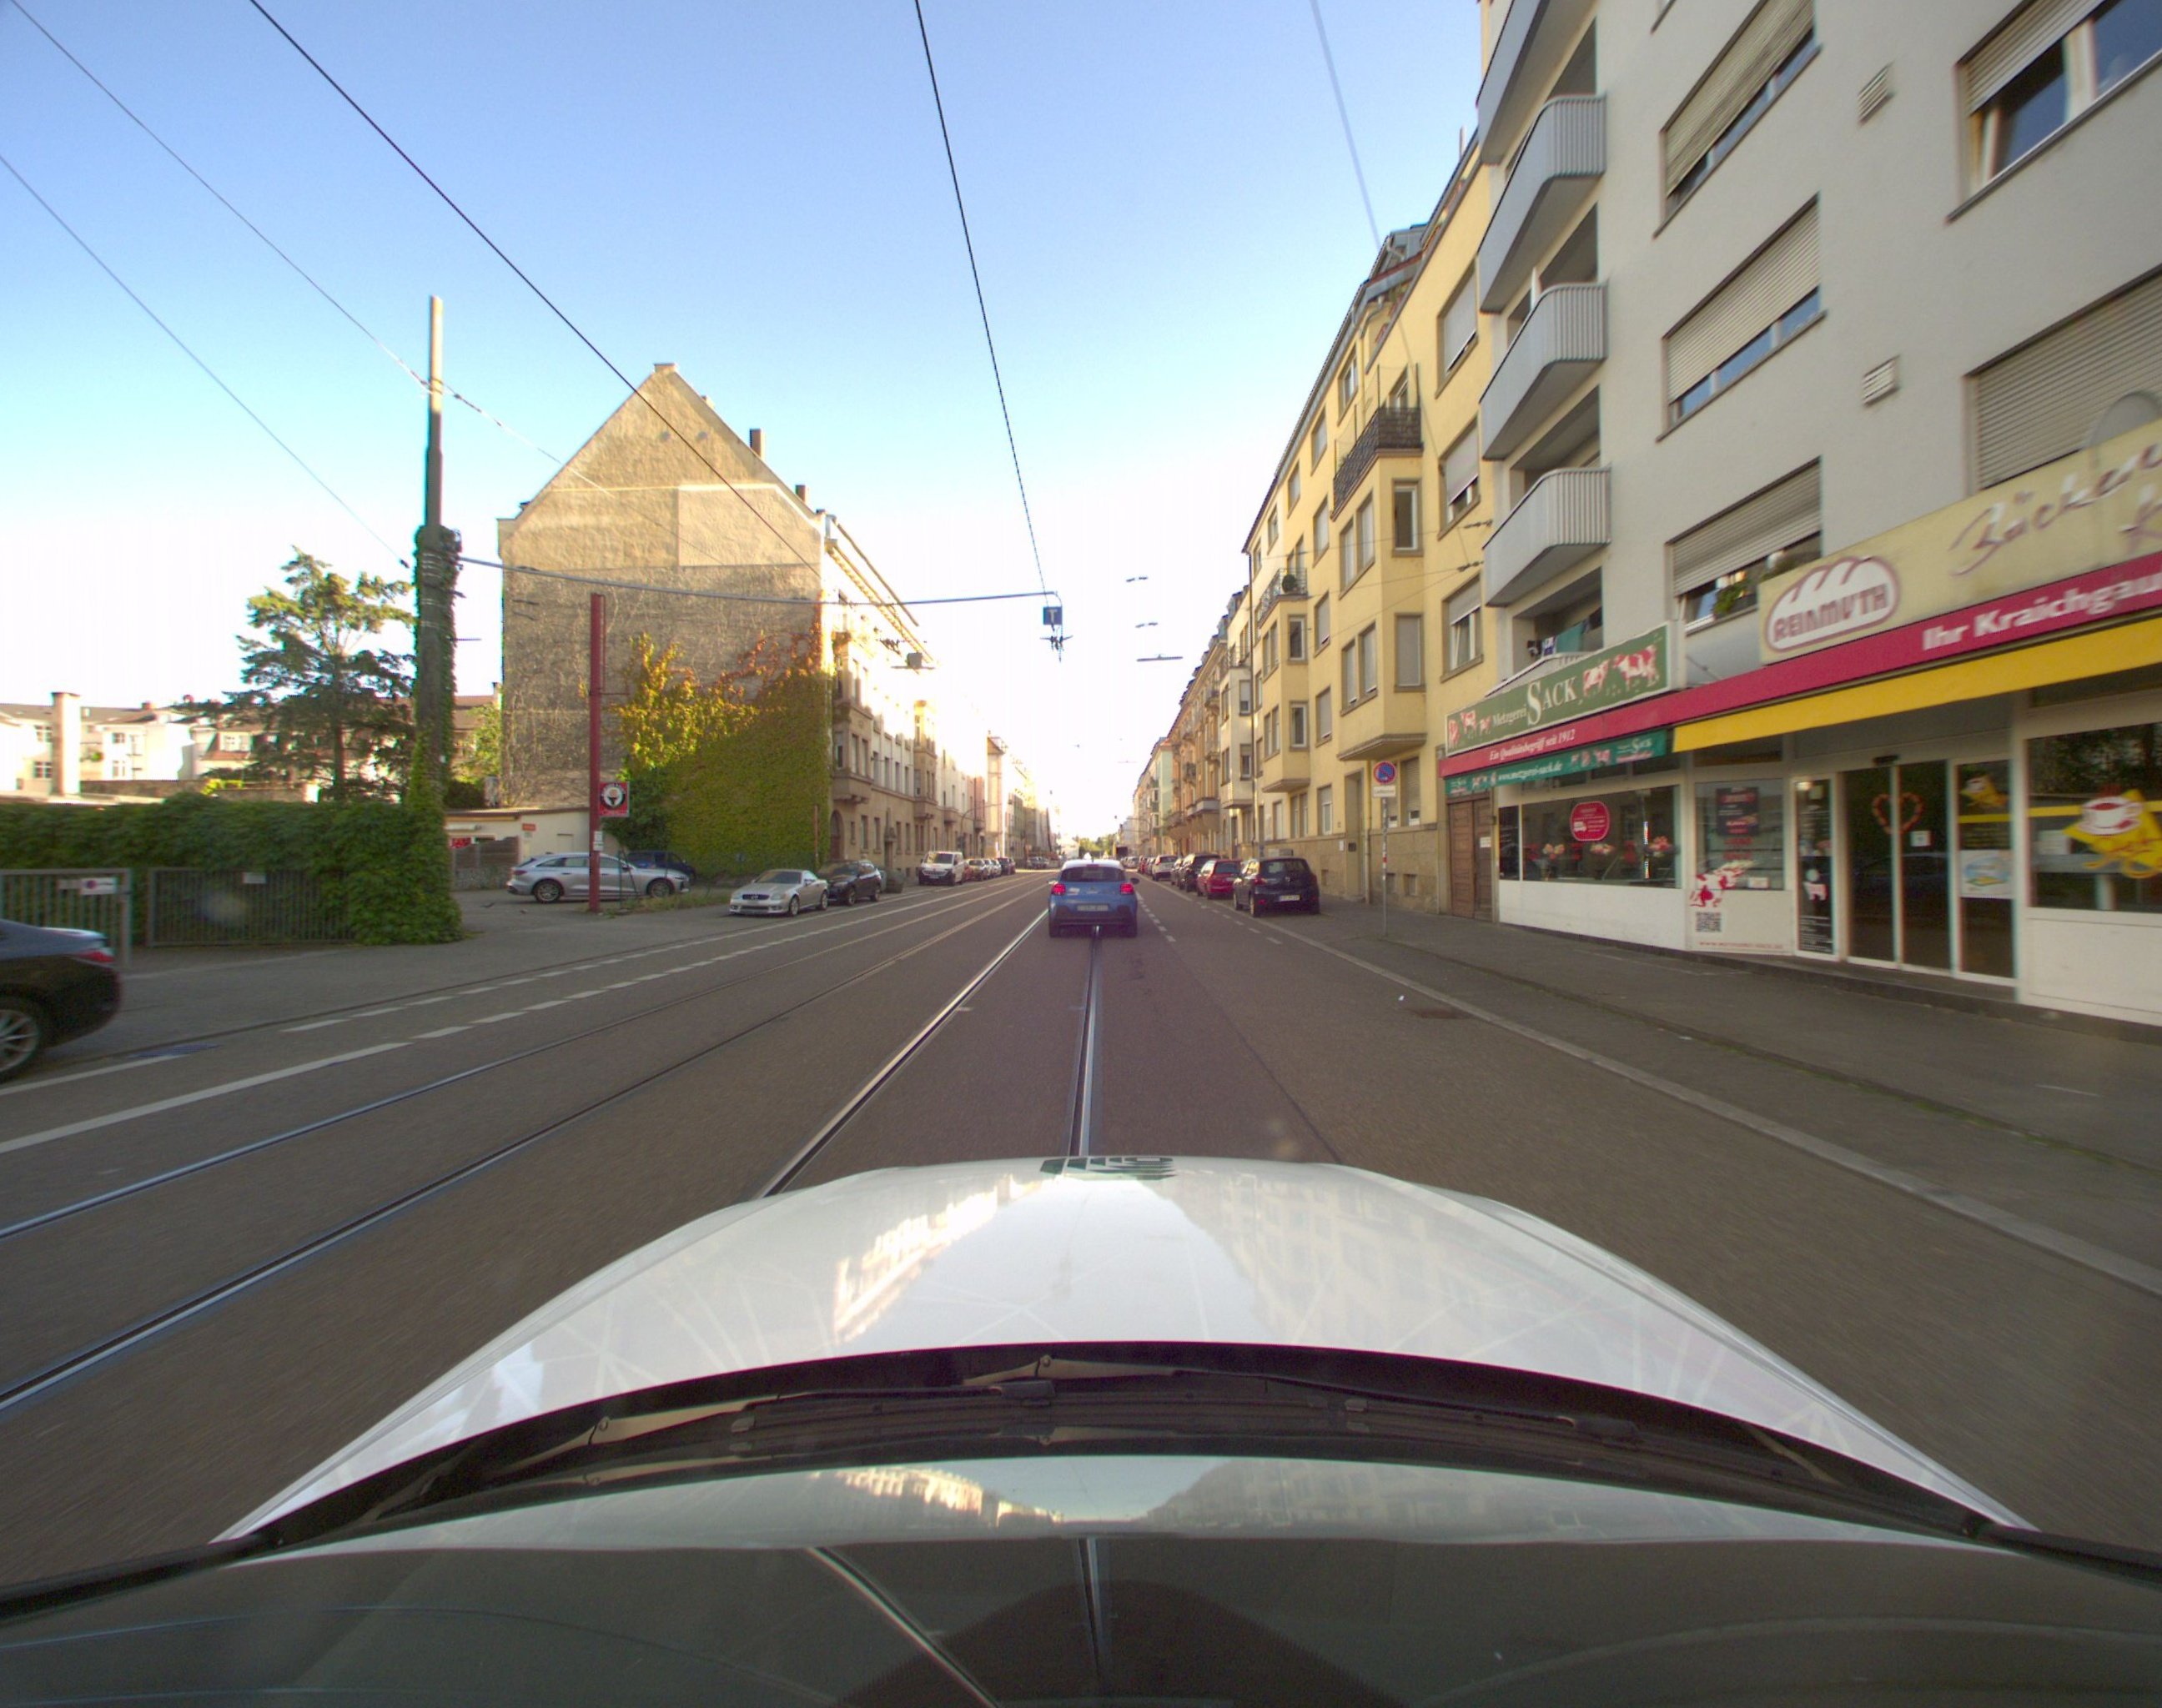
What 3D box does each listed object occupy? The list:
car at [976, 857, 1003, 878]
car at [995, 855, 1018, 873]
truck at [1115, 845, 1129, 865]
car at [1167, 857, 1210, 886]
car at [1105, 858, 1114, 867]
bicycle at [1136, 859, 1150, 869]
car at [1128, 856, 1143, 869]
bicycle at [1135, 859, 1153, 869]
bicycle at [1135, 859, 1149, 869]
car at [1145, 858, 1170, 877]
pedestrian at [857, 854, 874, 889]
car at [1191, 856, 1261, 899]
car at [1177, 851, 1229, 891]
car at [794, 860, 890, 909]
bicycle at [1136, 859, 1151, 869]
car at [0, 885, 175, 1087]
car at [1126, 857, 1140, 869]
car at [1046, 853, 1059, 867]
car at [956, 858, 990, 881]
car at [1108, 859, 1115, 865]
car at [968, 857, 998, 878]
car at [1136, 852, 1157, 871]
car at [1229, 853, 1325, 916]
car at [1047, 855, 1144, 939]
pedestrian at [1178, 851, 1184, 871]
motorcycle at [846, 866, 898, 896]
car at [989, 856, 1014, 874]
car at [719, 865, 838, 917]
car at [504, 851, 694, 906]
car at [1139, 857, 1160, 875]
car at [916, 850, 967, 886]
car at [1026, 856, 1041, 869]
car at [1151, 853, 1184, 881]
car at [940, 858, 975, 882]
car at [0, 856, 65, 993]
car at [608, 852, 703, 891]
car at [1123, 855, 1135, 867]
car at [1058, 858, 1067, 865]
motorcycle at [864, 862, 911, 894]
[{"bbox_3d":[-7.653,1.086,68.148,1.778,1.622,4.178,1,0,-1],"label":"car"},{"bbox_3d":[-7.141,0.957,77.930,1.778,1.606,4.396,1,0,-1],"label":"car"},{"bbox_3d":[8.941,0.291,178.956,2.841,4.083,11.278,-1,0,3],"label":"truck"},{"bbox_3d":[5.602,0.887,42.880,1.731,1.442,4.033,-1,0,1],"label":"car"},{"bbox_3d":[5.997,1.783,169.745,1.814,1.894,4.001,0,0,1],"label":"car"},{"bbox_3d":[7.838,1.315,102.957,1.716,1.154,0.469,-4,-1,1],"label":"bicycle"},{"bbox_3d":[7.262,1.129,108.395,1.777,1.632,4.002,-1,0,2],"label":"car"},{"bbox_3d":[7.783,1.212,100.448,2.079,1.154,0.848,-3,0,1],"label":"bicycle"},{"bbox_3d":[7.893,1.336,105.089,1.716,1.154,0.469,-4,-1,1],"label":"bicycle"},{"bbox_3d":[6.094,1.068,65.081,1.649,1.483,4.474,-1,0,0],"label":"car"},{"bbox_3d":[-10.648,0.851,40.246,0.677,1.724,0.616,0,-1,1],"label":"pedestrian"},{"bbox_3d":[5.302,0.827,30.382,1.852,1.455,4.711,-1,0,1],"label":"car"},{"bbox_3d":[5.373,0.727,36.481,1.851,1.665,4.564,-1,0,3],"label":"car"},{"bbox_3d":[-8.420,1.005,29.098,1.775,1.565,4.614,1,0,3],"label":"car"},{"bbox_3d":[7.783,1.234,101.173,1.836,1.154,0.469,-4,-1,1],"label":"bicycle"},{"bbox_3d":[-9.053,1.006,4.838,1.776,1.446,4.843,1,0,2],"label":"car"},{"bbox_3d":[7.195,1.249,113.834,1.777,1.576,4.328,-1,0,2],"label":"car"},{"bbox_3d":[-4.955,1.069,143.221,2.138,2.475,4.978,1,0,-1],"label":"car"},{"bbox_3d":[-7.571,1.065,57.422,1.777,1.523,4.360,1,0,0],"label":"car"},{"bbox_3d":[8.032,2.126,212.434,1.758,1.487,4.033,-1,0,2],"label":"car"},{"bbox_3d":[-7.540,1.015,62.766,1.766,1.547,4.364,1,0,-1],"label":"car"},{"bbox_3d":[6.520,0.759,81.300,1.746,1.735,4.508,-4,0,2],"label":"car"},{"bbox_3d":[5.161,0.766,21.968,1.712,1.491,4.003,-2,0,2],"label":"car"},{"bbox_3d":[0.327,0.790,16.869,1.728,1.507,3.994,1,0,2],"label":"car"},{"bbox_3d":[8.496,0.554,69.262,0.511,1.687,0.448,-1,0,1],"label":"pedestrian"},{"bbox_3d":[-8.709,1.109,34.029,0.732,1.171,2.193,0,0,31],"label":"motorcycle"},{"bbox_3d":[-7.166,0.998,73.666,1.777,1.553,3.020,1,0,1],"label":"car"},{"bbox_3d":[-8.759,1.033,24.001,1.776,1.314,4.222,1,0,1],"label":"car"},{"bbox_3d":[-14.524,0.689,24.763,4.813,1.518,1.980,0,0,-32],"label":"car"},{"bbox_3d":[6.269,1.051,74.628,1.746,1.594,3.732,-1,0,3],"label":"car"},{"bbox_3d":[-8.029,0.768,47.278,1.966,1.949,5.252,1,0,1],"label":"car"},{"bbox_3d":[-6.321,1.089,108.749,1.778,1.690,4.666,1,0,-1],"label":"car"},{"bbox_3d":[5.614,0.821,53.352,1.836,1.691,4.506,-1,0,2],"label":"car"},{"bbox_3d":[-8.015,1.022,53.001,1.597,1.473,3.647,1,0,1],"label":"car"},{"bbox_3d":[-14.724,0.818,9.093,4.344,1.597,2.001,0,0,2],"label":"car"},{"bbox_3d":[-17.451,0.695,33.631,1.746,1.525,3.911,0,0,2],"label":"car"},{"bbox_3d":[8.082,1.173,137.427,1.724,1.827,4.688,-1,0,2],"label":"car"},{"bbox_3d":[-4.311,1.797,189.958,1.819,1.632,4.850,-1,0,2],"label":"car"},{"bbox_3d":[-8.506,1.034,35.886,0.875,1.351,1.970,0,0,34],"label":"motorcycle"}]
